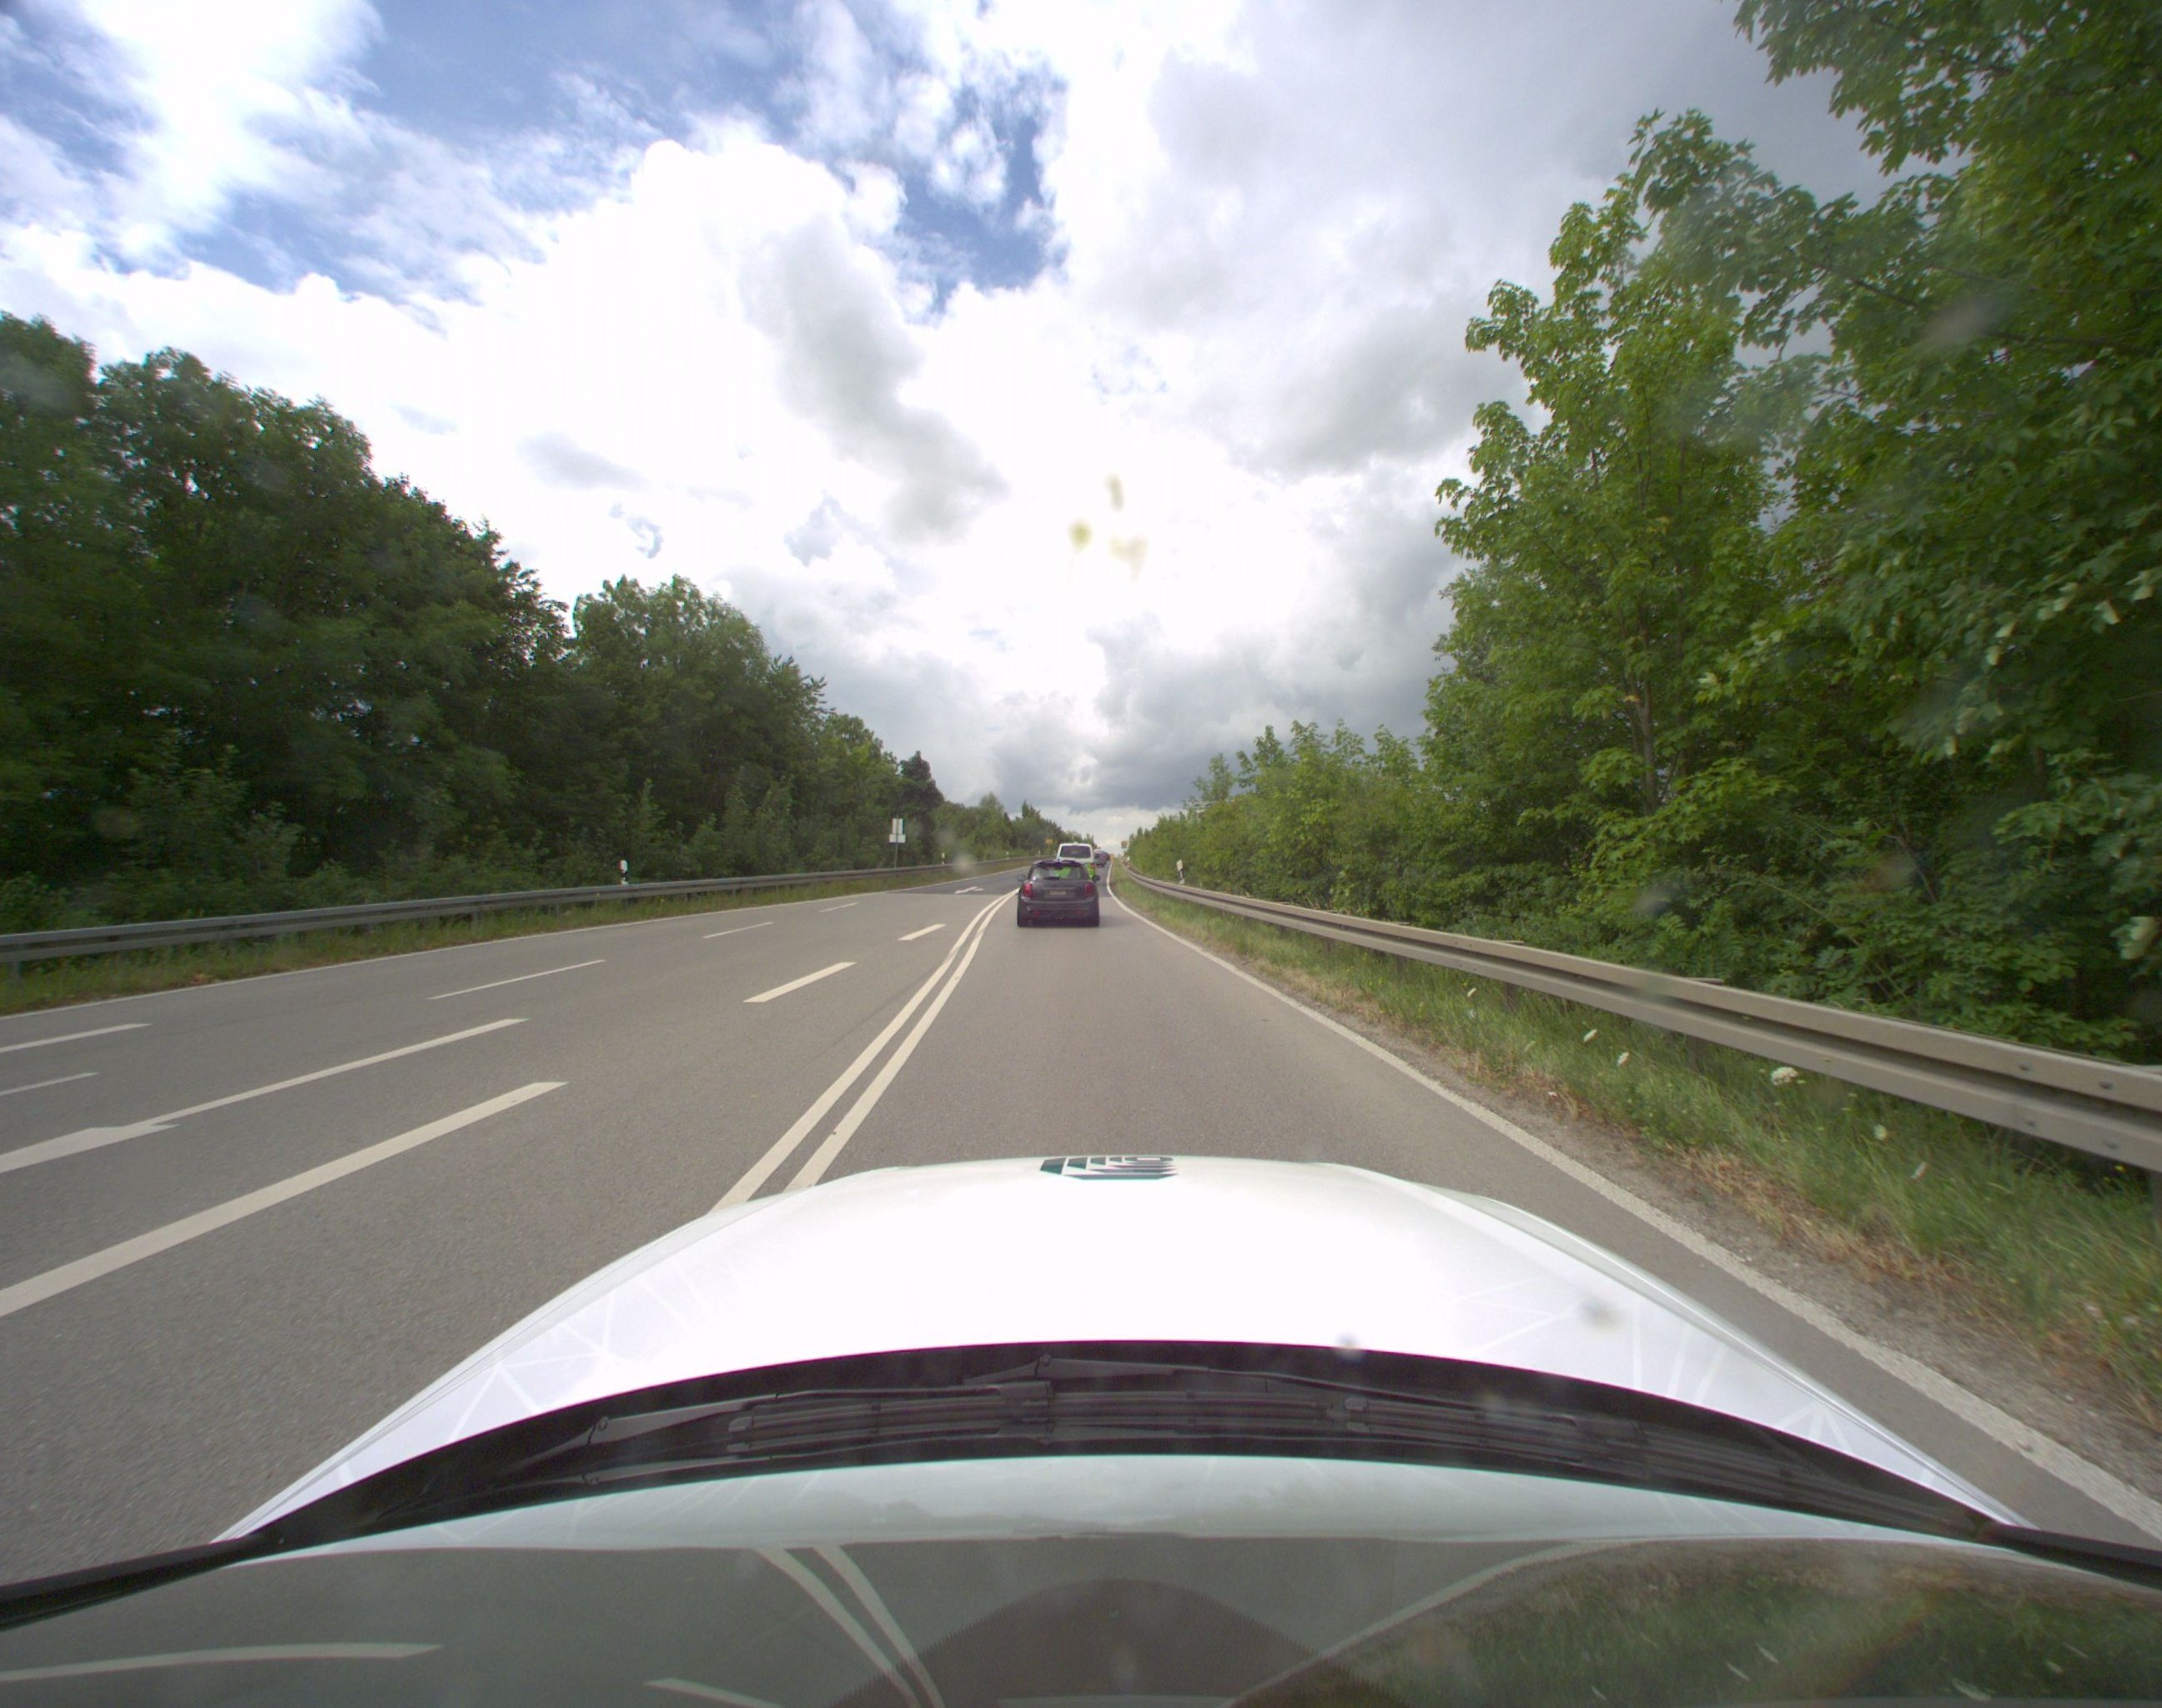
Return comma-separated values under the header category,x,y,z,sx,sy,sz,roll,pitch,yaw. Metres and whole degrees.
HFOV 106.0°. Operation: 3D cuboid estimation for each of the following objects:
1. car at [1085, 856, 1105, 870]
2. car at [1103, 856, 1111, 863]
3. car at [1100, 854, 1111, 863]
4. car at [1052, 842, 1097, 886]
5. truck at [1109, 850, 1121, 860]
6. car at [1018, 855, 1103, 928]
category,x,y,z,sx,sy,sz,roll,pitch,yaw
car,1.337,0.843,77.431,1.687,1.222,4.003,-1,0,3
car,5.684,1.216,178.328,1.687,1.319,4.005,-1,0,4
car,4.096,0.758,134.732,1.687,1.319,4.005,-1,0,4
car,-0.263,0.446,39.111,2.015,2.013,4.000,1,0,0
truck,9.274,0.285,219.046,2.897,2.372,10.463,-2,0,4
car,-0.543,0.772,18.600,1.728,1.456,3.995,0,0,-4
